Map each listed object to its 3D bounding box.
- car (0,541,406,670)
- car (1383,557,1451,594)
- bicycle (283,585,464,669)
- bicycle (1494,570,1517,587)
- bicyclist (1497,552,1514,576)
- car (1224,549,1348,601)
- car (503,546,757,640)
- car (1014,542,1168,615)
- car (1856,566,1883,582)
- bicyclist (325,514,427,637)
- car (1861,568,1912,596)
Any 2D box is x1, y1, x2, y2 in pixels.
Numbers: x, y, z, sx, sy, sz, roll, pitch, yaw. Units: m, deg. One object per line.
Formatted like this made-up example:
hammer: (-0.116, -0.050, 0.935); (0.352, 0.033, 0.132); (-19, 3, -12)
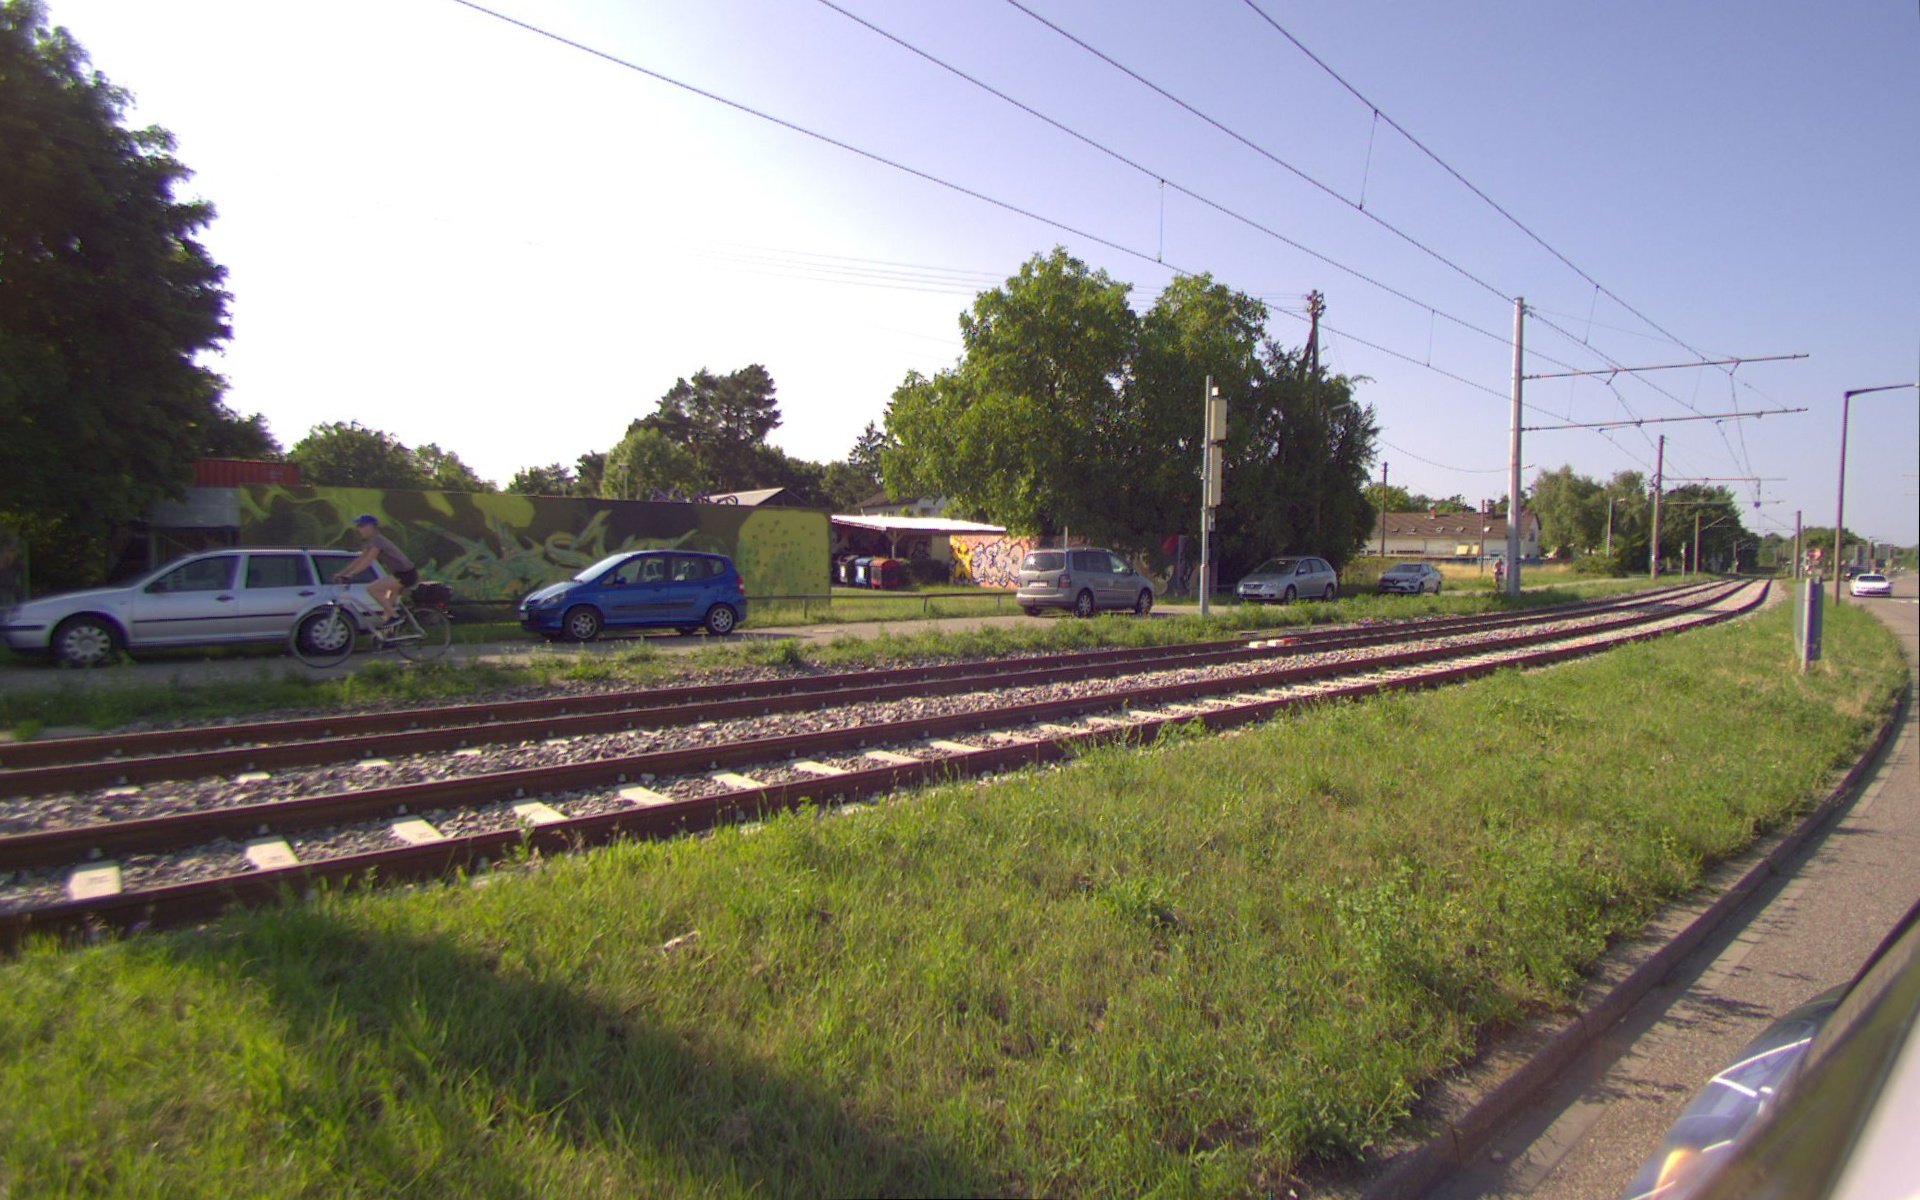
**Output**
car: (-9.993, -0.001, 13.522); (4.313, 1.483, 1.713); (-1, 3, -40)
car: (19.385, -1.067, 42.828); (1.533, 1.466, 4.071); (3, 3, 40)
bicycle: (-7.116, 0.291, 12.338); (1.814, 0.921, 0.643); (-2, 2, -44)
bicycle: (28.694, -1.138, 53.265); (0.642, 0.921, 1.786); (1, 2, 43)
bicyclist: (28.725, -1.900, 53.278); (0.639, 1.248, 0.779); (1, 2, 43)
car: (10.995, -0.868, 33.998); (4.648, 1.609, 1.910); (-1, 3, -43)
car: (-5.624, -0.139, 17.467); (3.841, 1.448, 1.682); (-1, 1, -39)
car: (3.341, -0.557, 25.100); (1.522, 1.630, 4.416); (3, 3, 42)
car: (91.014, -2.561, 101.340); (1.829, 1.532, 4.094); (0, 1, 39)
bicyclist: (-7.110, -0.302, 12.330); (0.946, 1.440, 0.630); (-1, 2, -44)
car: (57.201, -1.124, 62.556); (1.960, 1.638, 4.249); (2, 2, 38)
